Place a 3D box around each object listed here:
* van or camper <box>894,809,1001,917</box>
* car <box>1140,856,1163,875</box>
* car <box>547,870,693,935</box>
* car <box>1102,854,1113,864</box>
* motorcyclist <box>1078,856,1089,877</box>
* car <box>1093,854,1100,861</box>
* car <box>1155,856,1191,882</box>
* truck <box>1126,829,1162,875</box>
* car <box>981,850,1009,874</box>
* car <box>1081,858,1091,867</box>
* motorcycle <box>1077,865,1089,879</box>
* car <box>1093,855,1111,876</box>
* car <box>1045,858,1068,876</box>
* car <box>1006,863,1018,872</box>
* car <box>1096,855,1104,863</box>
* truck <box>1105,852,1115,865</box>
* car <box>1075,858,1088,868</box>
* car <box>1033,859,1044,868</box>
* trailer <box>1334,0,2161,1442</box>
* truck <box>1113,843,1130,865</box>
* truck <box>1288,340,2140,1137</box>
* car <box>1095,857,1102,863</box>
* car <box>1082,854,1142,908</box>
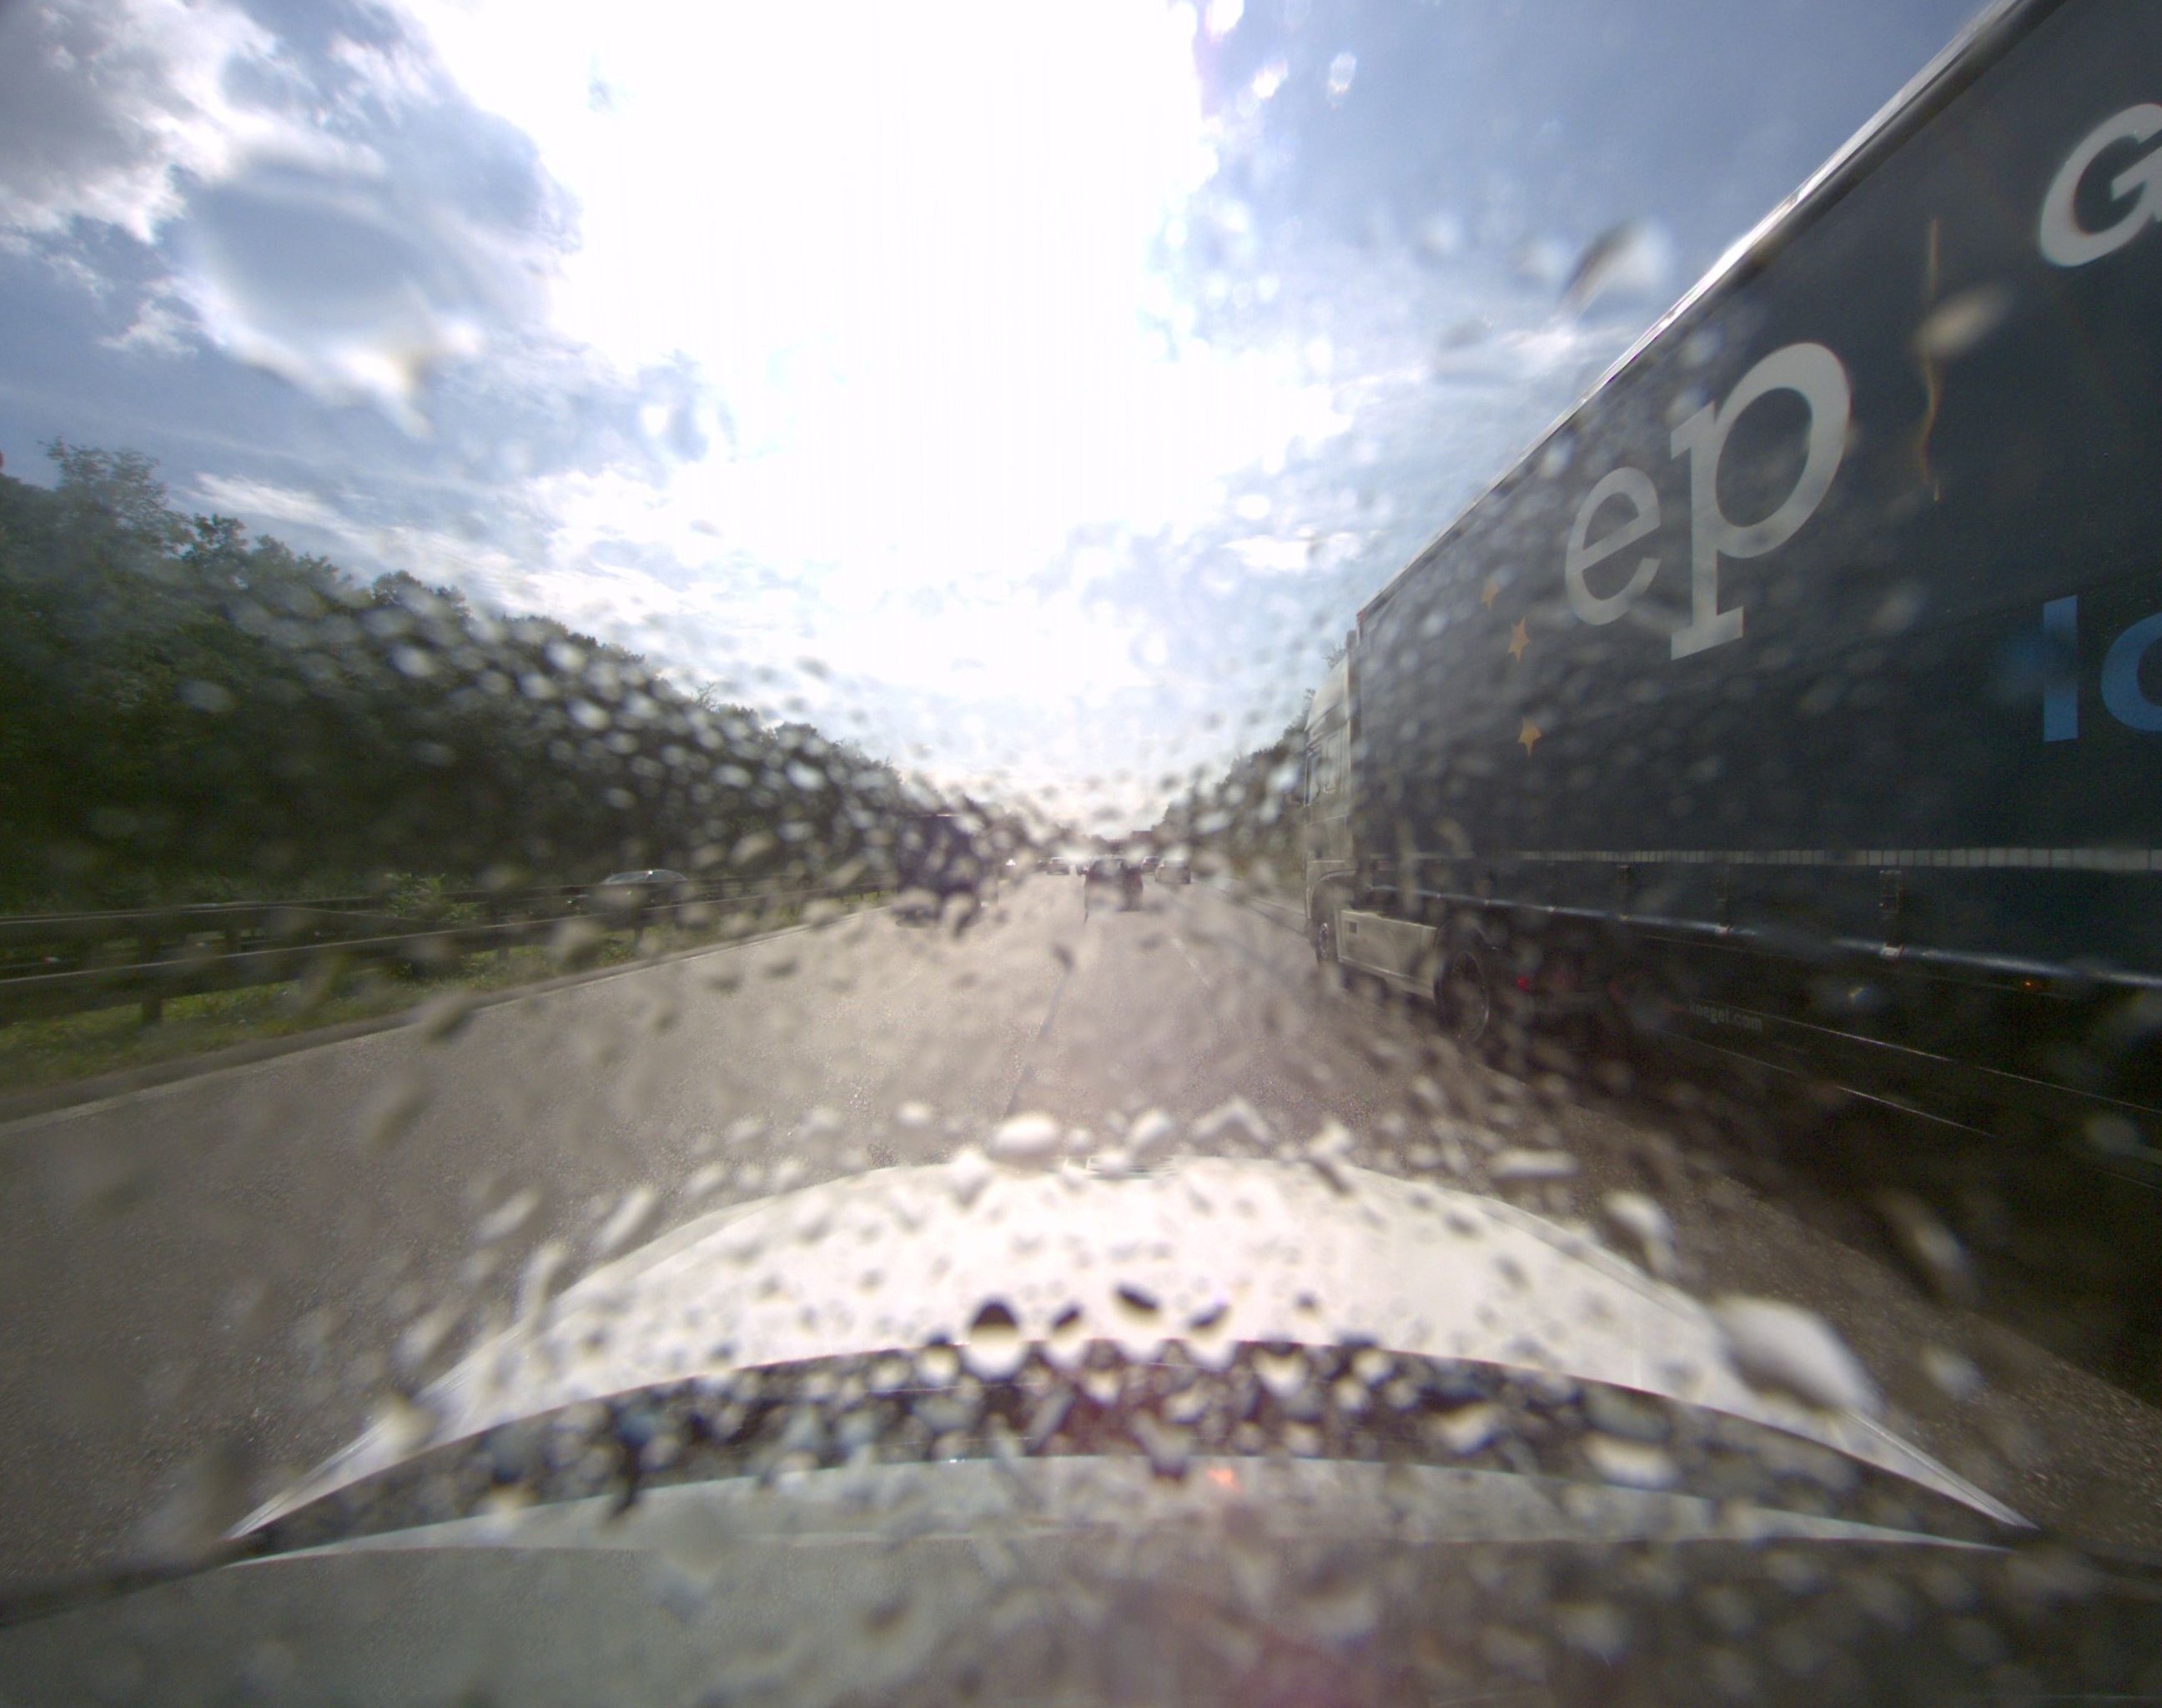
[{"bbox_3d":[-3.594,0.239,22.958,1.986,2.669,5.386,0,-1,1],"label":"van or camper"},{"bbox_3d":[5.768,0.933,66.831,1.674,1.442,3.906,0,-1,1],"label":"car"},{"bbox_3d":[-13.070,1.313,23.399,1.760,1.663,4.114,0,-1,1],"label":"car"},{"bbox_3d":[3.899,0.776,119.713,1.547,1.383,3.211,0,-1,1],"label":"car"},{"bbox_3d":[0.167,0.959,62.918,0.799,1.633,1.013,0,-1,1],"label":"motorcyclist"},{"bbox_3d":[3.263,0.710,173.448,1.479,1.390,3.199,0,-1,1],"label":"car"},{"bbox_3d":[5.196,0.832,46.356,1.686,1.425,4.221,0,-1,1],"label":"car"},{"bbox_3d":[6.929,-0.121,92.046,3.634,4.720,16.792,0,-1,3],"label":"truck"},{"bbox_3d":[-9.148,0.873,86.872,2.175,2.452,5.749,0,-1,1],"label":"car"},{"bbox_3d":[0.903,1.491,144.262,1.745,1.457,3.390,0,-1,1],"label":"car"},{"bbox_3d":[0.156,1.382,62.966,0.887,1.000,2.897,0,-1,2],"label":"motorcycle"},{"bbox_3d":[1.825,0.985,70.278,1.526,1.746,3.485,0,-1,1],"label":"car"},{"bbox_3d":[-2.118,1.148,72.021,1.848,1.551,3.485,0,-1,1],"label":"car"},{"bbox_3d":[-12.344,2.390,145.656,1.693,1.663,4.237,0,-1,1],"label":"car"},{"bbox_3d":[5.004,1.305,216.883,1.986,2.013,4.001,-2,0,2],"label":"car"},{"bbox_3d":[6.358,1.021,179.176,2.184,2.875,4.851,0,-1,1],"label":"truck"},{"bbox_3d":[0.100,1.269,120.967,1.745,1.457,3.390,0,-1,1],"label":"car"},{"bbox_3d":[-8.328,1.842,161.487,1.831,1.663,4.442,0,-1,1],"label":"car"},{"bbox_3d":[3.885,-0.601,1.974,2.624,3.996,14.070,0,-1,2],"label":"trailer"},{"bbox_3d":[8.462,0.072,168.125,3.242,4.479,12.431,0,-1,3],"label":"truck"},{"bbox_3d":[4.086,-0.552,7.745,2.597,3.996,7.293,0,-1,2],"label":"truck"},{"bbox_3d":[5.128,1.847,240.488,1.986,1.701,4.001,-2,0,2],"label":"car"},{"bbox_3d":[0.943,0.796,25.252,1.711,1.568,3.485,0,-1,1],"label":"car"}]
